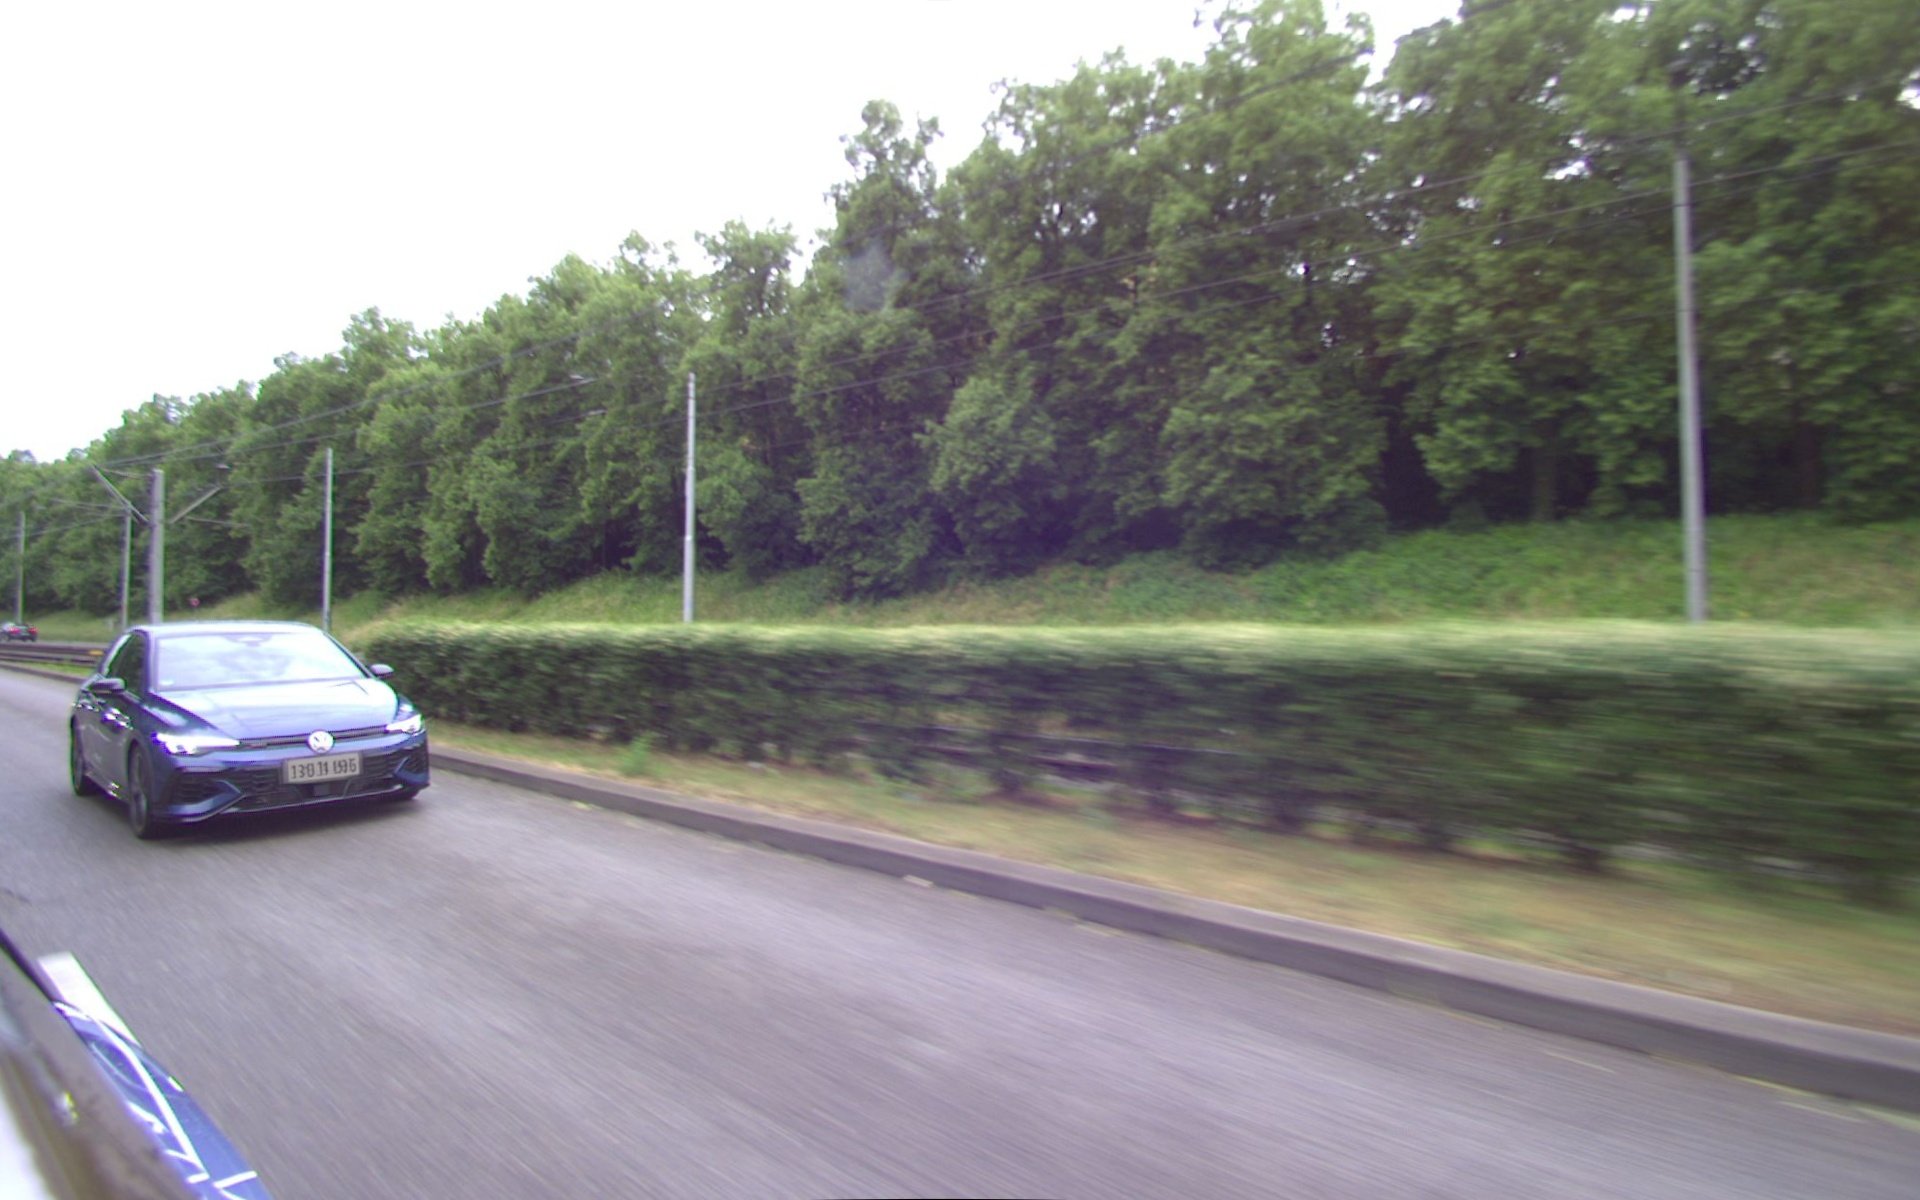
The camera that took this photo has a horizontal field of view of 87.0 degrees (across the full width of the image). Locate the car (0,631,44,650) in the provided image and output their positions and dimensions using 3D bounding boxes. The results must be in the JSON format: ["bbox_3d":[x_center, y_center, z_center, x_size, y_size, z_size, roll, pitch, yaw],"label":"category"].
[{"bbox_3d":[-73.713,3.163,79.172,4.417,1.442,1.978,-1,-2,33],"label":"car"}]

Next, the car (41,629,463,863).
[{"bbox_3d":[-5.881,0.977,8.193,4.344,1.389,1.789,-3,-3,41],"label":"car"}]
